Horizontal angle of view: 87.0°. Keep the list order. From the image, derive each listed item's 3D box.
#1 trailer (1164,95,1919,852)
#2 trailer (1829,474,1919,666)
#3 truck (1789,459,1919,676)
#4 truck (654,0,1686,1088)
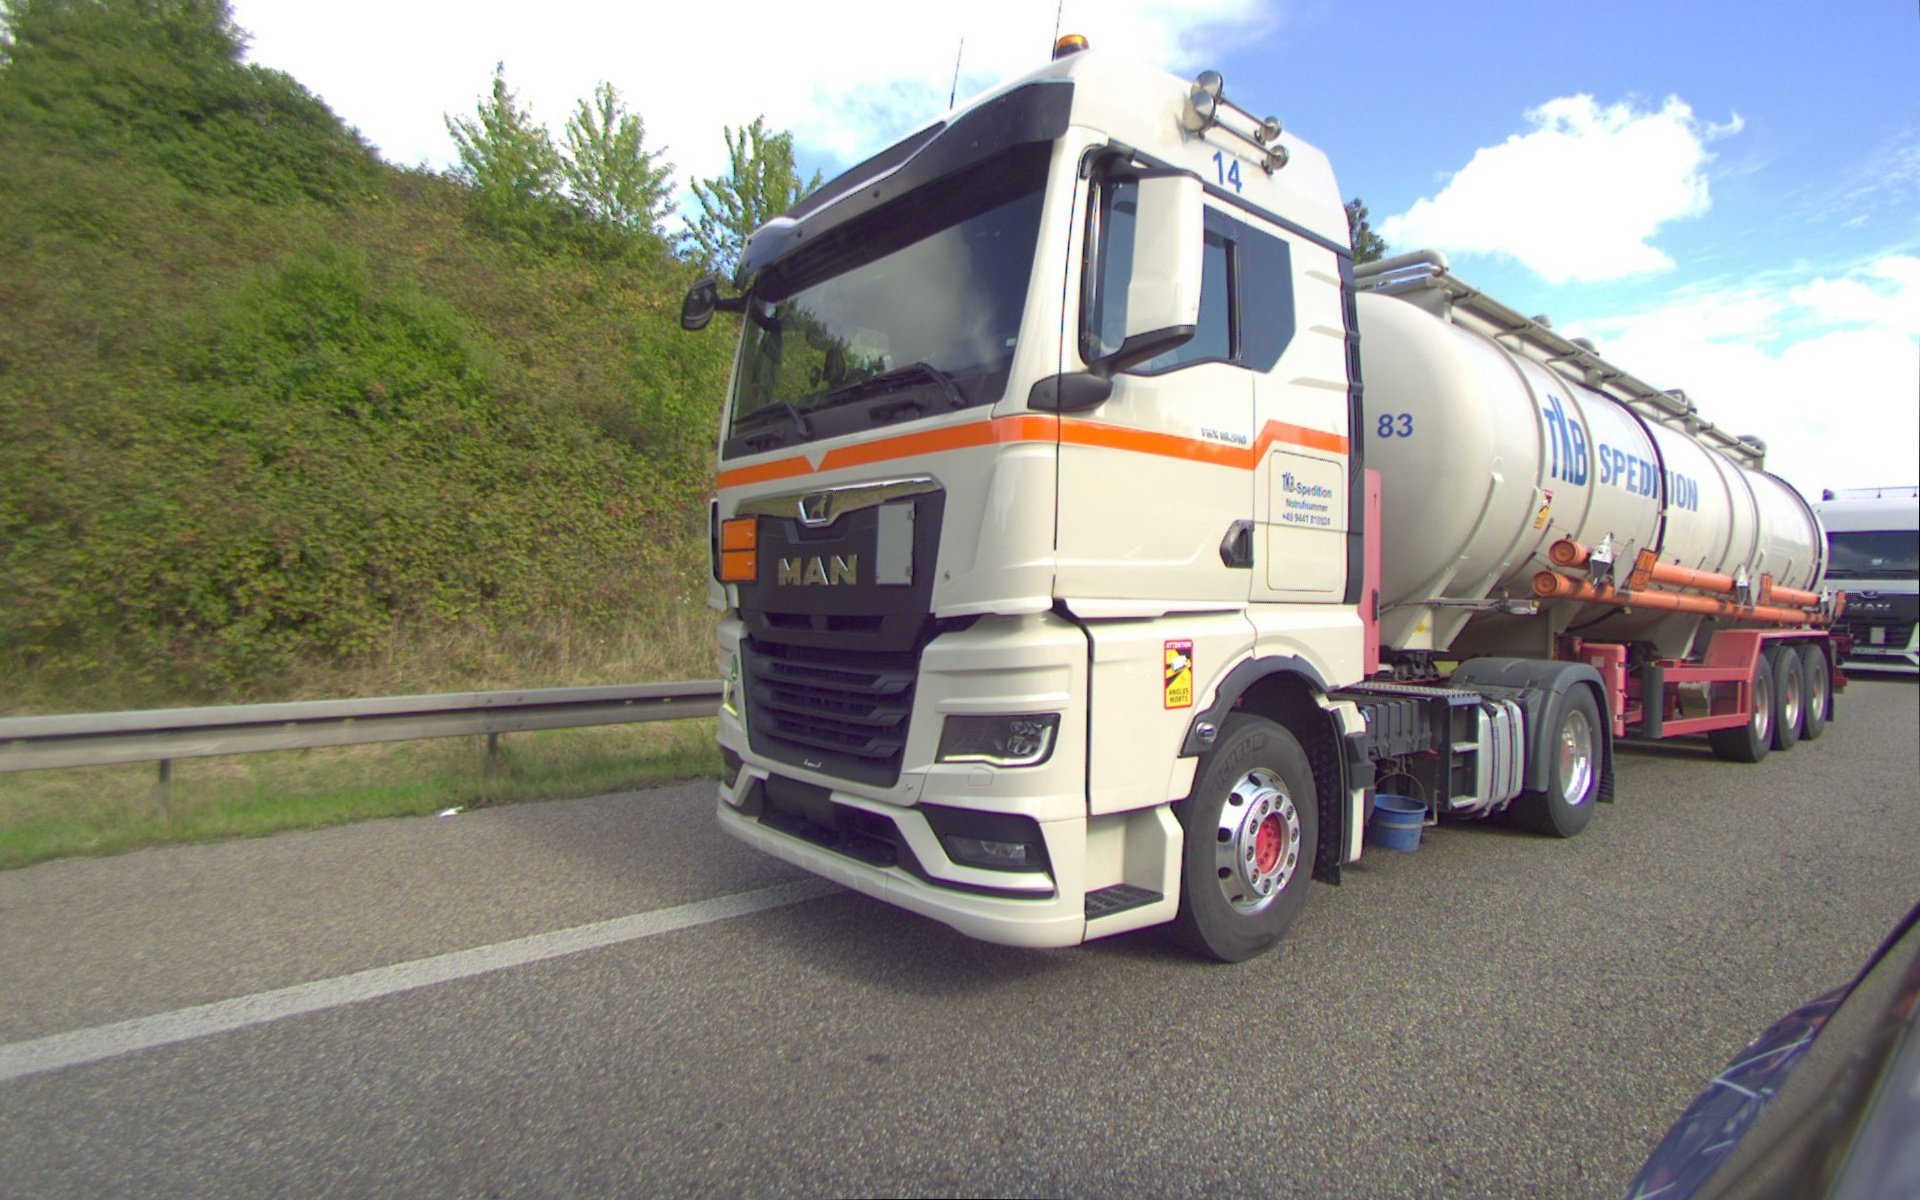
[{"bbox_3d":[6.672,-0.711,10.030,10.981,4.077,2.804,0,0,-39],"label":"trailer"},{"bbox_3d":[25.695,-0.662,26.036,13.131,4.122,2.832,0,1,-39],"label":"trailer"},{"bbox_3d":[20.013,-0.631,21.361,5.605,4.123,2.840,0,0,-39],"label":"truck"},{"bbox_3d":[1.588,-0.676,5.835,5.797,4.094,2.809,0,0,-39],"label":"truck"}]
